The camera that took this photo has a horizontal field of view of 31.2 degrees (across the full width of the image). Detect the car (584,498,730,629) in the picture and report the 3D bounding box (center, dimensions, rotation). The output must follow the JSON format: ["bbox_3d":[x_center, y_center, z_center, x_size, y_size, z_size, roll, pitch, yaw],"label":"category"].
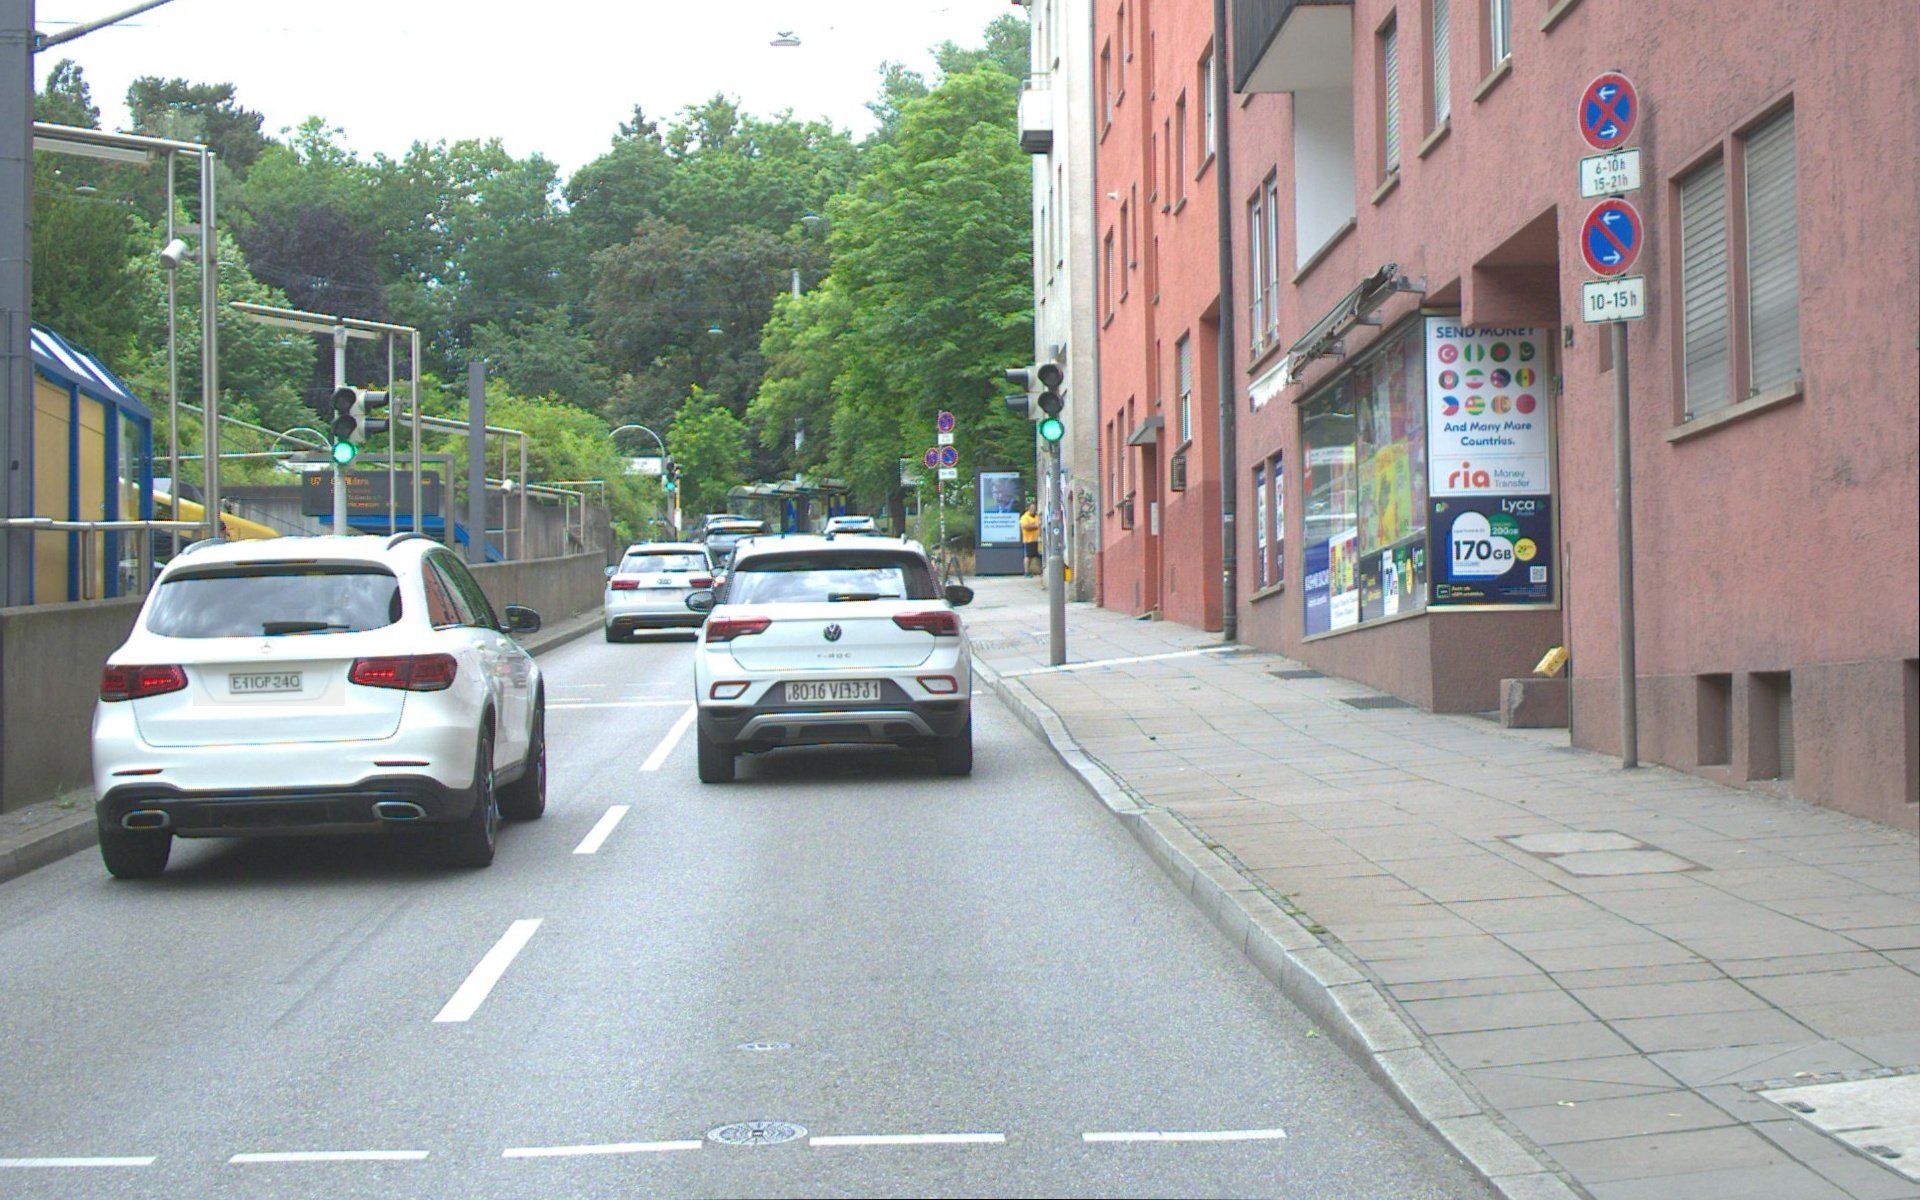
[{"bbox_3d":[-4.545,-0.581,52.063,1.993,1.875,4.001,1,1,-2],"label":"car"}]

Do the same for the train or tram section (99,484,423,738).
[{"bbox_3d":[-10.787,0.181,54.553,2.949,3.497,12.987,-1,0,-2],"label":"train or tram section"}]

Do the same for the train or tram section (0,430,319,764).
[{"bbox_3d":[-10.287,0.075,41.944,2.949,3.472,12.219,-1,-1,-2],"label":"train or tram section"}]

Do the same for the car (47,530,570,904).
[{"bbox_3d":[-3.213,0.492,17.845,1.877,1.646,4.342,-2,1,0],"label":"car"}]

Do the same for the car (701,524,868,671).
[{"bbox_3d":[-2.024,-0.071,40.593,1.861,1.626,3.960,0,1,-1],"label":"car"}]

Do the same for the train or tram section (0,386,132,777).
[{"bbox_3d":[-9.945,-0.176,29.666,2.949,3.460,12.218,-1,-2,-2],"label":"train or tram section"}]

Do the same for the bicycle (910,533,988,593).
[{"bbox_3d":[-0.235,-0.761,70.882,0.639,1.139,2.065,-8,4,-27],"label":"bicycle"}]

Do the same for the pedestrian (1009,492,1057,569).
[{"bbox_3d":[1.648,-1.577,78.071,0.833,1.706,0.822,-2,1,-15],"label":"pedestrian"}]

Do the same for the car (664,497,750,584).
[{"bbox_3d":[-5.630,-1.344,76.750,1.749,1.875,4.001,1,1,-2],"label":"car"}]

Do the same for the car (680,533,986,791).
[{"bbox_3d":[-0.798,0.342,23.110,1.865,1.550,3.895,-1,1,0],"label":"car"}]

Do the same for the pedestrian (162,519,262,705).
[{"bbox_3d":[-7.211,0.109,33.188,0.800,1.771,0.818,0,1,-2],"label":"pedestrian"}]
